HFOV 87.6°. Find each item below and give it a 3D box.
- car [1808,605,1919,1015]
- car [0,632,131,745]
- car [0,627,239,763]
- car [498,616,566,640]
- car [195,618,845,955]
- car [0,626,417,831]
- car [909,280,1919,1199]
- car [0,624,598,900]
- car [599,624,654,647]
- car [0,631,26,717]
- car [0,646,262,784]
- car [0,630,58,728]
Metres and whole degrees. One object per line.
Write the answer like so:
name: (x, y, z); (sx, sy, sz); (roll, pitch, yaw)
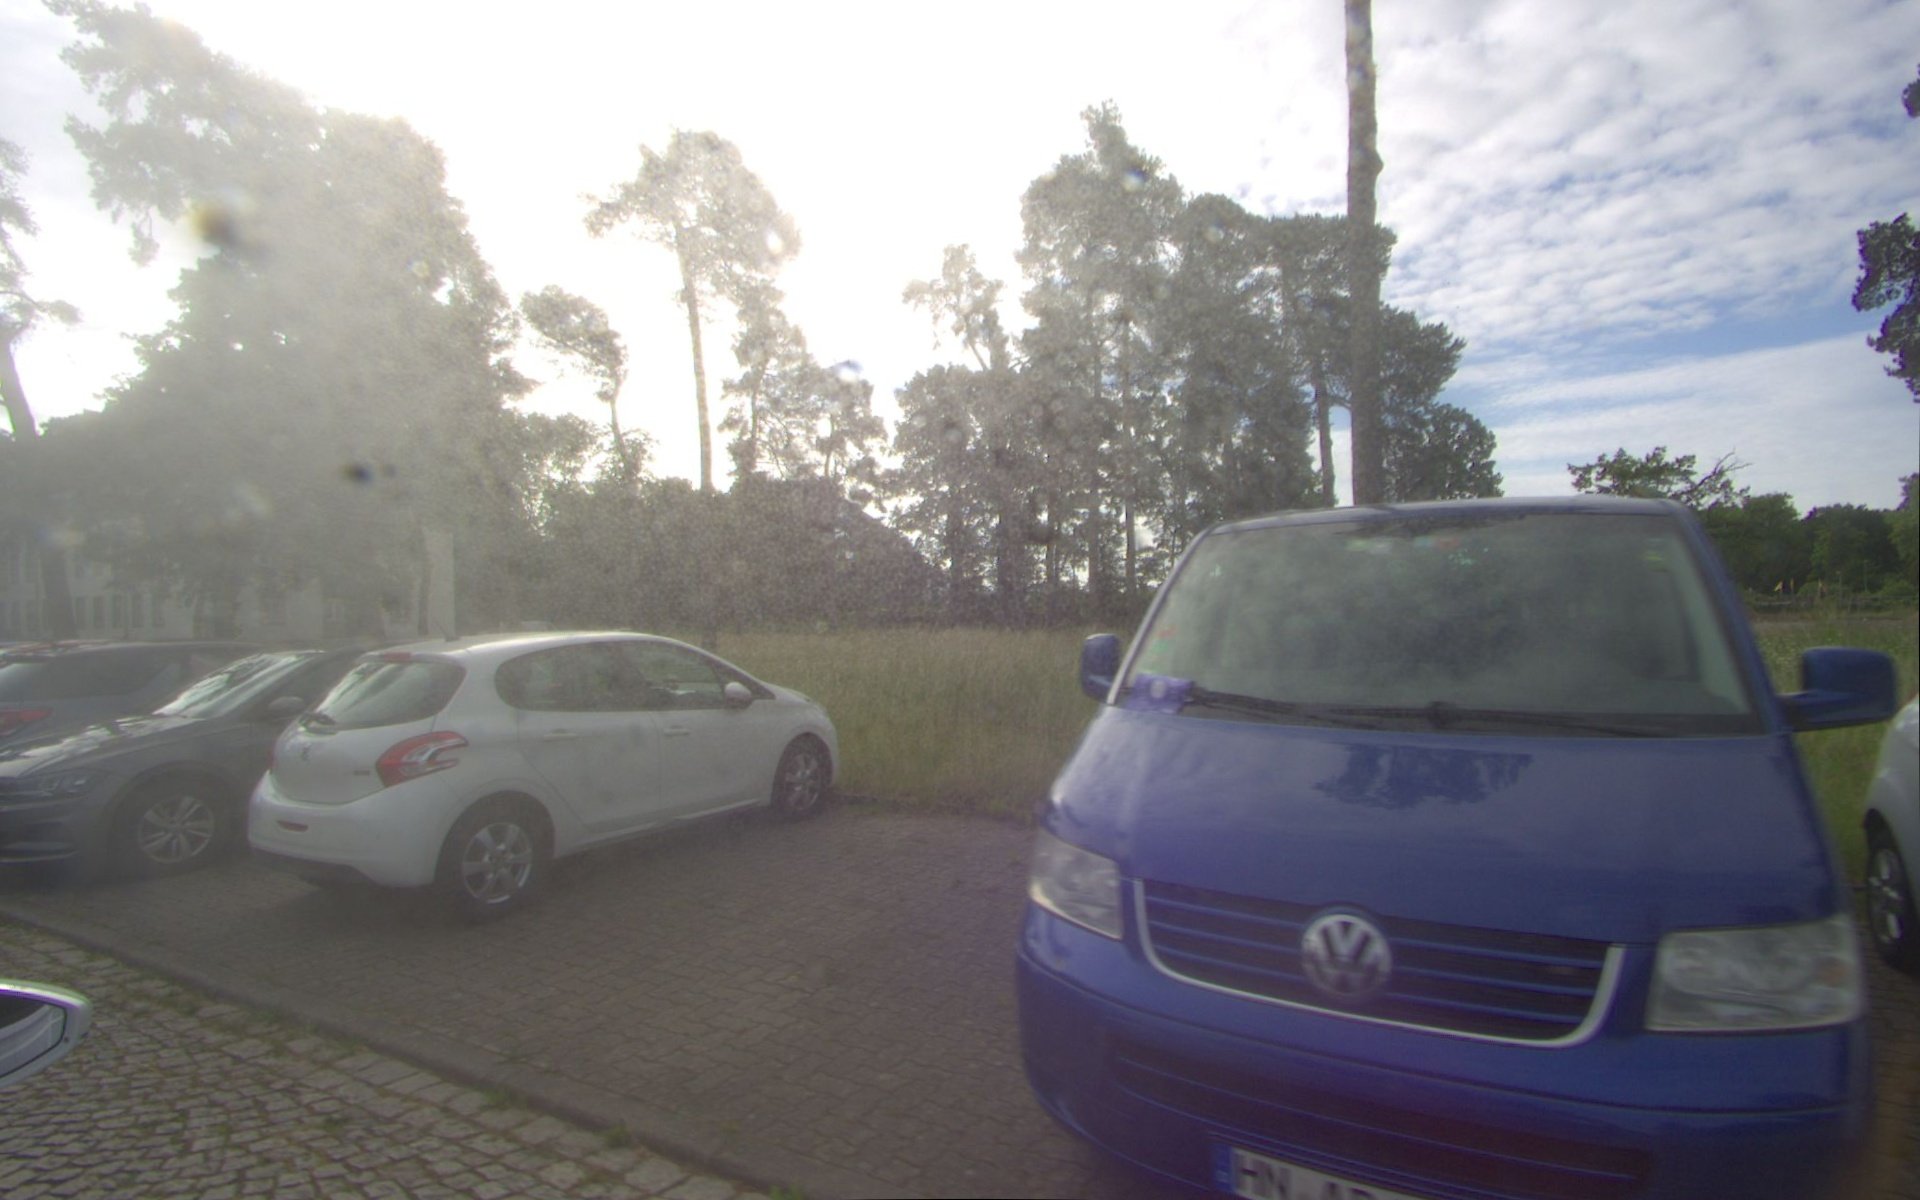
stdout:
car: (3.962, 0.772, 2.660); (1.695, 1.498, 4.095); (-1, 0, 27)
car: (-13.769, 1.213, 13.092); (1.726, 1.456, 4.187); (-1, 0, 23)
car: (-11.561, 1.139, 12.267); (1.659, 1.496, 4.101); (-1, 0, 28)
car: (-37.352, 2.469, 87.550); (2.075, 2.045, 5.294); (-1, -3, 31)
car: (-2.566, 0.913, 6.688); (1.739, 1.498, 3.648); (-1, 0, 30)
car: (-7.432, 1.057, 9.630); (1.717, 1.507, 3.500); (-1, 0, 30)
car: (1.871, 0.560, 3.920); (1.936, 2.030, 4.791); (-1, 0, 28)
car: (-5.149, 0.985, 7.934); (1.739, 1.466, 4.124); (-1, 0, 30)
car: (-27.658, 2.939, 83.188); (1.873, 1.826, 4.127); (-1, -3, 32)
car: (-18.074, 1.304, 16.119); (1.607, 1.483, 4.135); (-1, 0, 25)
car: (-9.821, 1.195, 10.661); (1.605, 1.239, 3.580); (-1, 0, 31)
car: (-16.108, 1.250, 14.492); (1.680, 1.499, 4.234); (-1, 0, 19)
